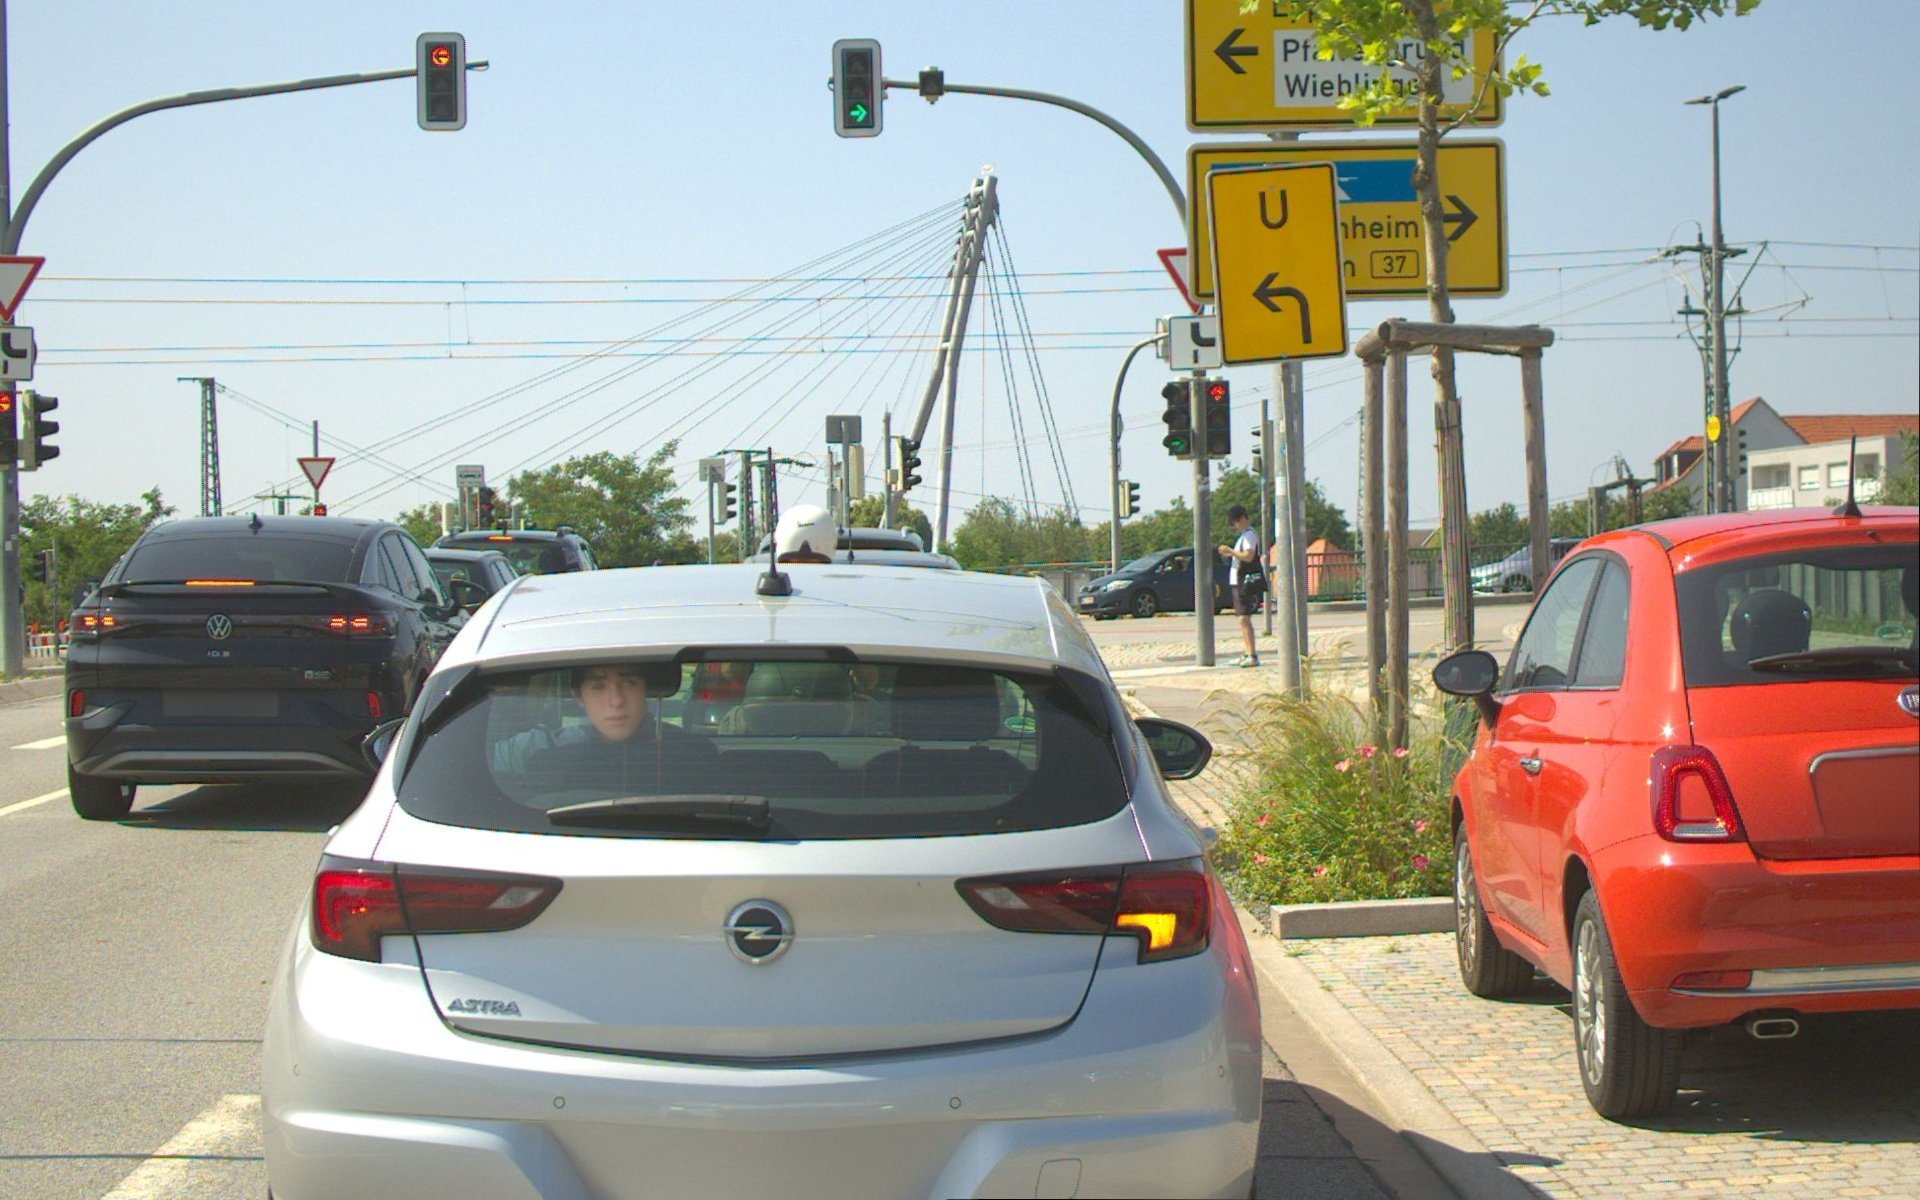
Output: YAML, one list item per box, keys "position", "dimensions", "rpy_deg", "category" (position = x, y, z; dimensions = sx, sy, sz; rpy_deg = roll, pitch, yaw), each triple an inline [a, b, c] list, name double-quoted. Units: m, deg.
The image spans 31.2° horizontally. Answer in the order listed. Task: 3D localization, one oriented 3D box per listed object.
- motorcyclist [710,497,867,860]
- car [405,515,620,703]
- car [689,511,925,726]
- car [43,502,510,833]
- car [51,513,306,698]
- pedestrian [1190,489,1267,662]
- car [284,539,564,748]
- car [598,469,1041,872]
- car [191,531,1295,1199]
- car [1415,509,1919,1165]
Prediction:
- position: [-0.665, 0.298, 13.534]
  dimensions: [0.581, 1.384, 0.707]
  rpy_deg: [1, 0, -1]
  category: "motorcyclist"
- position: [-4.083, 0.059, 31.828]
  dimensions: [1.649, 1.610, 3.821]
  rpy_deg: [1, 1, -3]
  category: "car"
- position: [-1.157, 0.086, 27.574]
  dimensions: [1.724, 1.558, 4.000]
  rpy_deg: [1, 2, 0]
  category: "car"
- position: [-3.717, 0.318, 19.432]
  dimensions: [1.801, 1.636, 4.366]
  rpy_deg: [1, 1, -1]
  category: "car"
- position: [-6.974, 0.027, 30.979]
  dimensions: [1.597, 1.542, 3.763]
  rpy_deg: [1, 1, -3]
  category: "car"
- position: [2.907, -0.267, 37.339]
  dimensions: [0.647, 1.830, 0.798]
  rpy_deg: [-3, 0, -2]
  category: "pedestrian"
- position: [-3.924, 0.283, 25.659]
  dimensions: [1.575, 1.429, 3.786]
  rpy_deg: [1, 1, -1]
  category: "car"
- position: [-0.666, 0.264, 17.861]
  dimensions: [1.993, 1.814, 4.402]
  rpy_deg: [1, 2, -1]
  category: "car"
- position: [-0.449, 0.618, 7.476]
  dimensions: [1.742, 1.473, 4.001]
  rpy_deg: [1, 1, -3]
  category: "car"
- position: [2.328, 0.515, 9.743]
  dimensions: [1.610, 1.491, 3.352]
  rpy_deg: [-2, 1, 1]
  category: "car"
